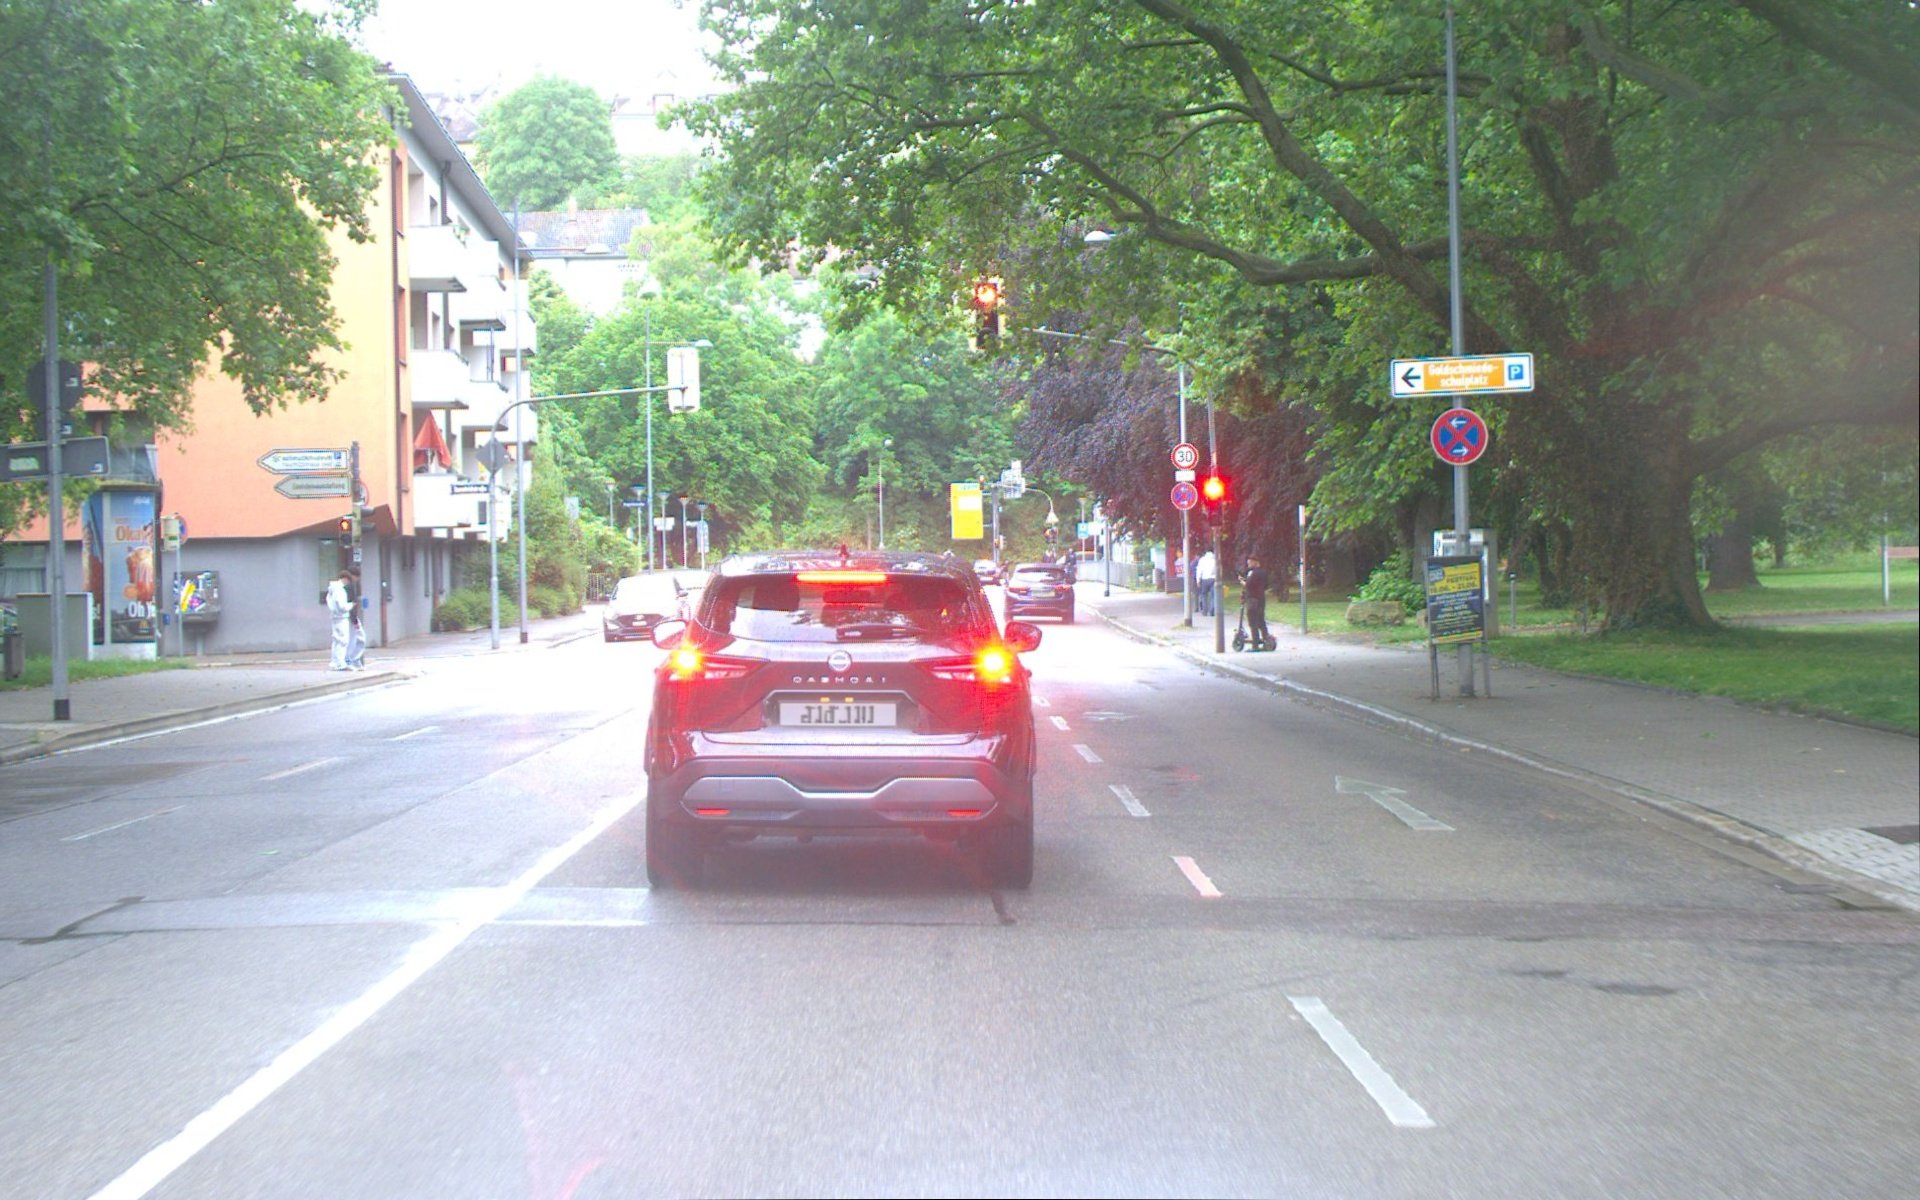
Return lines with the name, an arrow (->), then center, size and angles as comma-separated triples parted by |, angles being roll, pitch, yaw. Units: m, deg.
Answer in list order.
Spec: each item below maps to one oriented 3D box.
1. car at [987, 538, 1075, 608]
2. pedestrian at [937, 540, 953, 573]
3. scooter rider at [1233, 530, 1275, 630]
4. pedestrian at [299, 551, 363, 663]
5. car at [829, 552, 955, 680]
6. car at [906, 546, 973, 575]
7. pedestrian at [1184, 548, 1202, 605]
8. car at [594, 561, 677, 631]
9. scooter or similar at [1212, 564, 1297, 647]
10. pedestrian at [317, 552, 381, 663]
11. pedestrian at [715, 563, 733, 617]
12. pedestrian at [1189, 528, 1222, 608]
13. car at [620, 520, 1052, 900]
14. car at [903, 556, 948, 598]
car -> 1.851, -0.684, 88.364 | 1.994, 1.729, 3.999 | 1, 0, 4
pedestrian -> -0.740, -2.180, 172.441 | 0.509, 1.667, 0.658 | -1, 1, 27
scooter rider -> 5.220, -0.354, 61.075 | 0.643, 1.760, 0.735 | -1, -1, 12
pedestrian -> -10.532, 0.114, 57.533 | 1.035, 1.869, 0.658 | 0, 0, -12
car -> -0.971, 0.195, 49.692 | 1.698, 1.739, 3.641 | -2, 1, -1
car -> -1.272, -2.370, 207.943 | 3.987, 1.662, 1.701 | 1, 0, -1
pedestrian -> 6.197, -0.624, 91.323 | 0.390, 1.497, 0.559 | -1, 0, -1
car -> -7.480, -0.115, 79.466 | 1.795, 1.528, 3.868 | -2, 1, -4
scooter or similar -> 5.228, 0.105, 61.067 | 1.394, 1.441, 0.816 | -1, 0, 12
pedestrian -> -10.360, 0.116, 58.285 | 1.035, 1.869, 0.658 | 0, 0, -12
pedestrian -> -7.958, -0.338, 115.906 | 0.508, 1.796, 0.619 | -2, 1, -1
pedestrian -> 6.197, -0.808, 86.799 | 0.725, 2.007, 0.851 | -1, 0, -1
car -> -0.574, 0.467, 17.361 | 1.913, 1.674, 4.000 | 1, 1, -1
car -> -1.319, -0.900, 130.671 | 1.634, 1.527, 3.968 | -2, 1, -1
